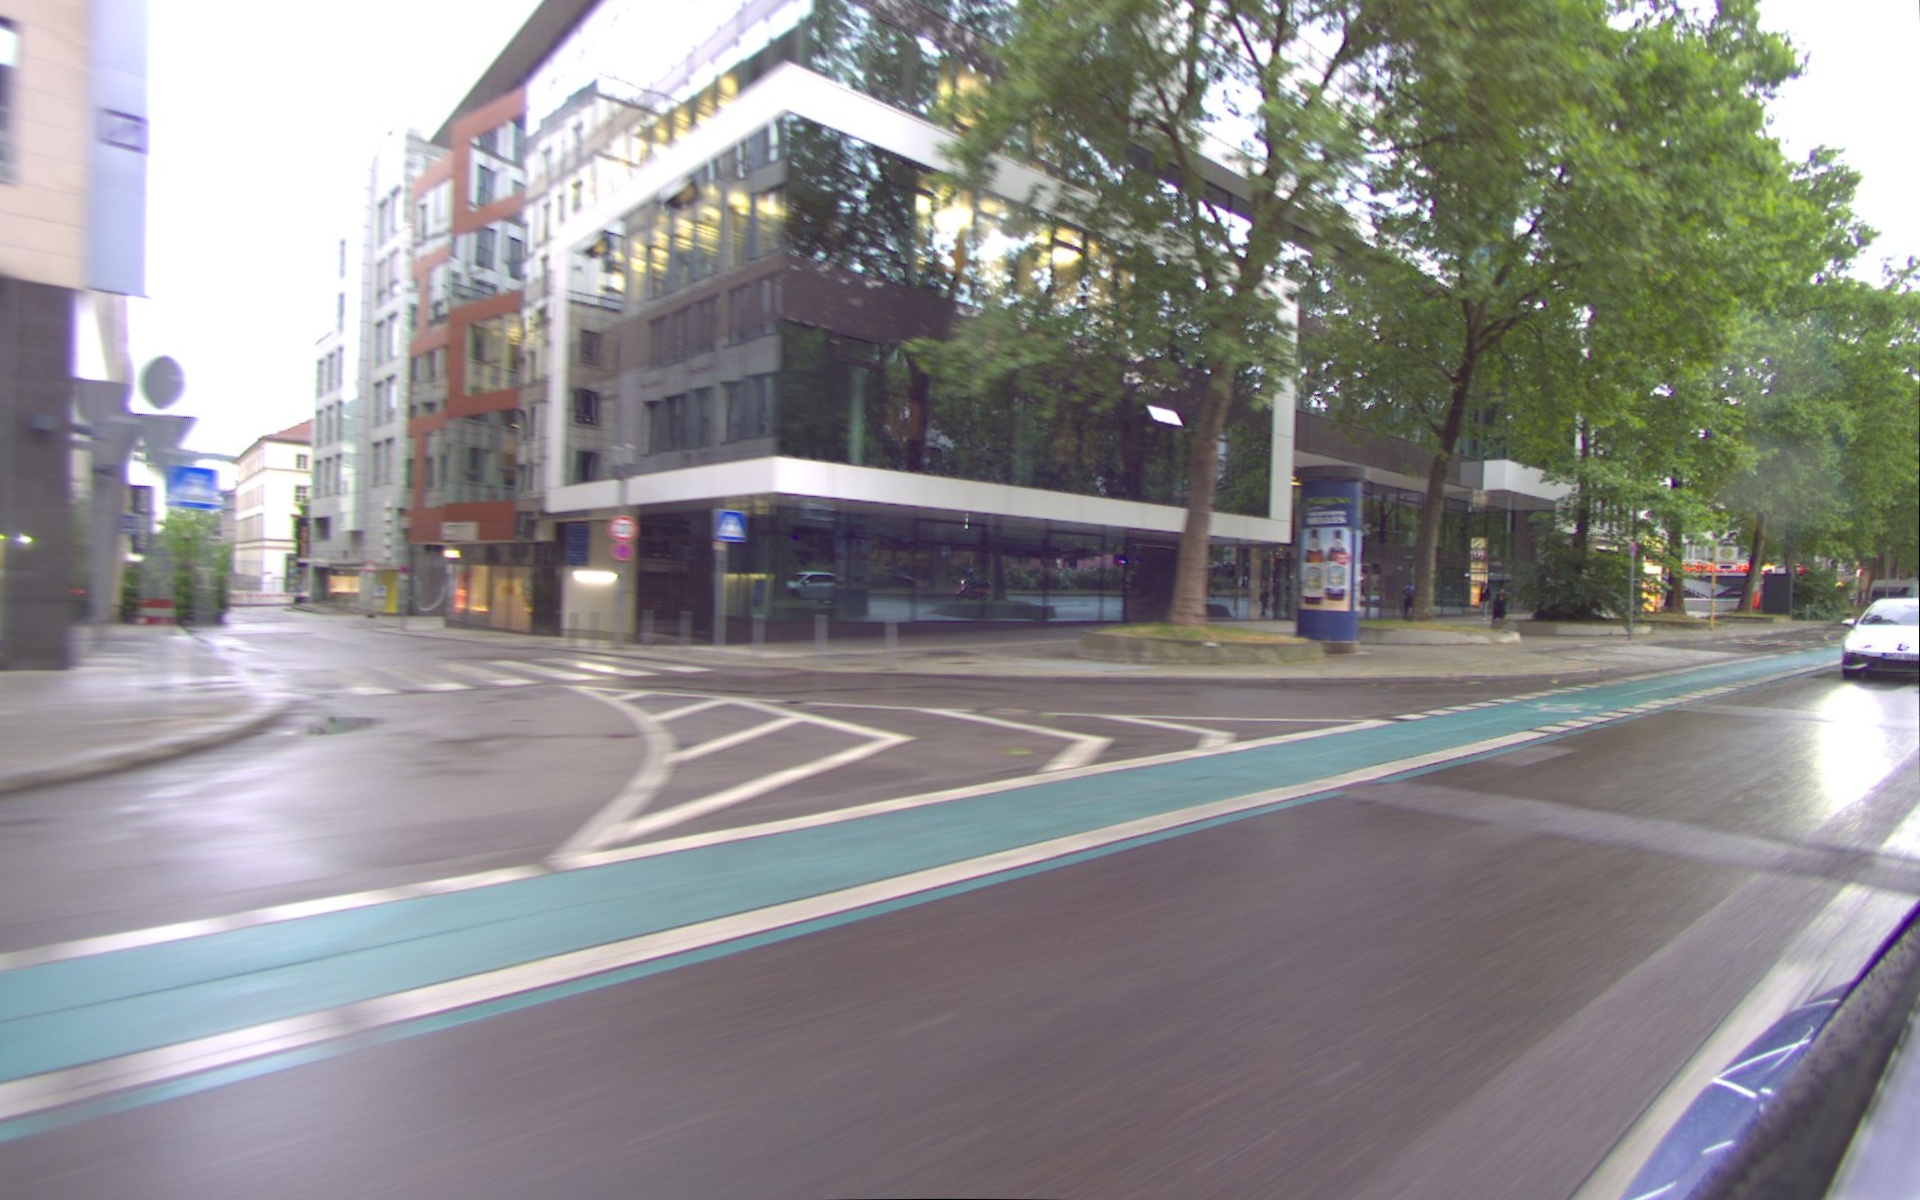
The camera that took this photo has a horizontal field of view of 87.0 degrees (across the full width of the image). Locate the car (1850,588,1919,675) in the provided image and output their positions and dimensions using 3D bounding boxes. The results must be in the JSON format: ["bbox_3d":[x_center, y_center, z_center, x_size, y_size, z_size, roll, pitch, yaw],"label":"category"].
[{"bbox_3d":[17.939,0.530,18.652,3.727,1.490,1.794,0,0,-40],"label":"car"}]

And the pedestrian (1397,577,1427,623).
[{"bbox_3d":[18.498,0.002,41.439,0.786,1.816,1.071,4,2,40],"label":"pedestrian"}]

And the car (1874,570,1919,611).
[{"bbox_3d":[65.165,-0.648,67.559,2.275,2.714,6.292,-1,1,-5],"label":"car"}]

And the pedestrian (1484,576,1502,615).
[{"bbox_3d":[26.200,-0.233,49.776,0.692,1.881,0.523,-2,4,-41],"label":"pedestrian"}]

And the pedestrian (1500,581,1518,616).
[{"bbox_3d":[26.730,-0.081,49.267,0.707,1.645,0.527,-2,4,-41],"label":"pedestrian"}]

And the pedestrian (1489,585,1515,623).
[{"bbox_3d":[22.133,0.171,41.330,0.987,1.524,0.588,0,1,-40],"label":"pedestrian"}]
